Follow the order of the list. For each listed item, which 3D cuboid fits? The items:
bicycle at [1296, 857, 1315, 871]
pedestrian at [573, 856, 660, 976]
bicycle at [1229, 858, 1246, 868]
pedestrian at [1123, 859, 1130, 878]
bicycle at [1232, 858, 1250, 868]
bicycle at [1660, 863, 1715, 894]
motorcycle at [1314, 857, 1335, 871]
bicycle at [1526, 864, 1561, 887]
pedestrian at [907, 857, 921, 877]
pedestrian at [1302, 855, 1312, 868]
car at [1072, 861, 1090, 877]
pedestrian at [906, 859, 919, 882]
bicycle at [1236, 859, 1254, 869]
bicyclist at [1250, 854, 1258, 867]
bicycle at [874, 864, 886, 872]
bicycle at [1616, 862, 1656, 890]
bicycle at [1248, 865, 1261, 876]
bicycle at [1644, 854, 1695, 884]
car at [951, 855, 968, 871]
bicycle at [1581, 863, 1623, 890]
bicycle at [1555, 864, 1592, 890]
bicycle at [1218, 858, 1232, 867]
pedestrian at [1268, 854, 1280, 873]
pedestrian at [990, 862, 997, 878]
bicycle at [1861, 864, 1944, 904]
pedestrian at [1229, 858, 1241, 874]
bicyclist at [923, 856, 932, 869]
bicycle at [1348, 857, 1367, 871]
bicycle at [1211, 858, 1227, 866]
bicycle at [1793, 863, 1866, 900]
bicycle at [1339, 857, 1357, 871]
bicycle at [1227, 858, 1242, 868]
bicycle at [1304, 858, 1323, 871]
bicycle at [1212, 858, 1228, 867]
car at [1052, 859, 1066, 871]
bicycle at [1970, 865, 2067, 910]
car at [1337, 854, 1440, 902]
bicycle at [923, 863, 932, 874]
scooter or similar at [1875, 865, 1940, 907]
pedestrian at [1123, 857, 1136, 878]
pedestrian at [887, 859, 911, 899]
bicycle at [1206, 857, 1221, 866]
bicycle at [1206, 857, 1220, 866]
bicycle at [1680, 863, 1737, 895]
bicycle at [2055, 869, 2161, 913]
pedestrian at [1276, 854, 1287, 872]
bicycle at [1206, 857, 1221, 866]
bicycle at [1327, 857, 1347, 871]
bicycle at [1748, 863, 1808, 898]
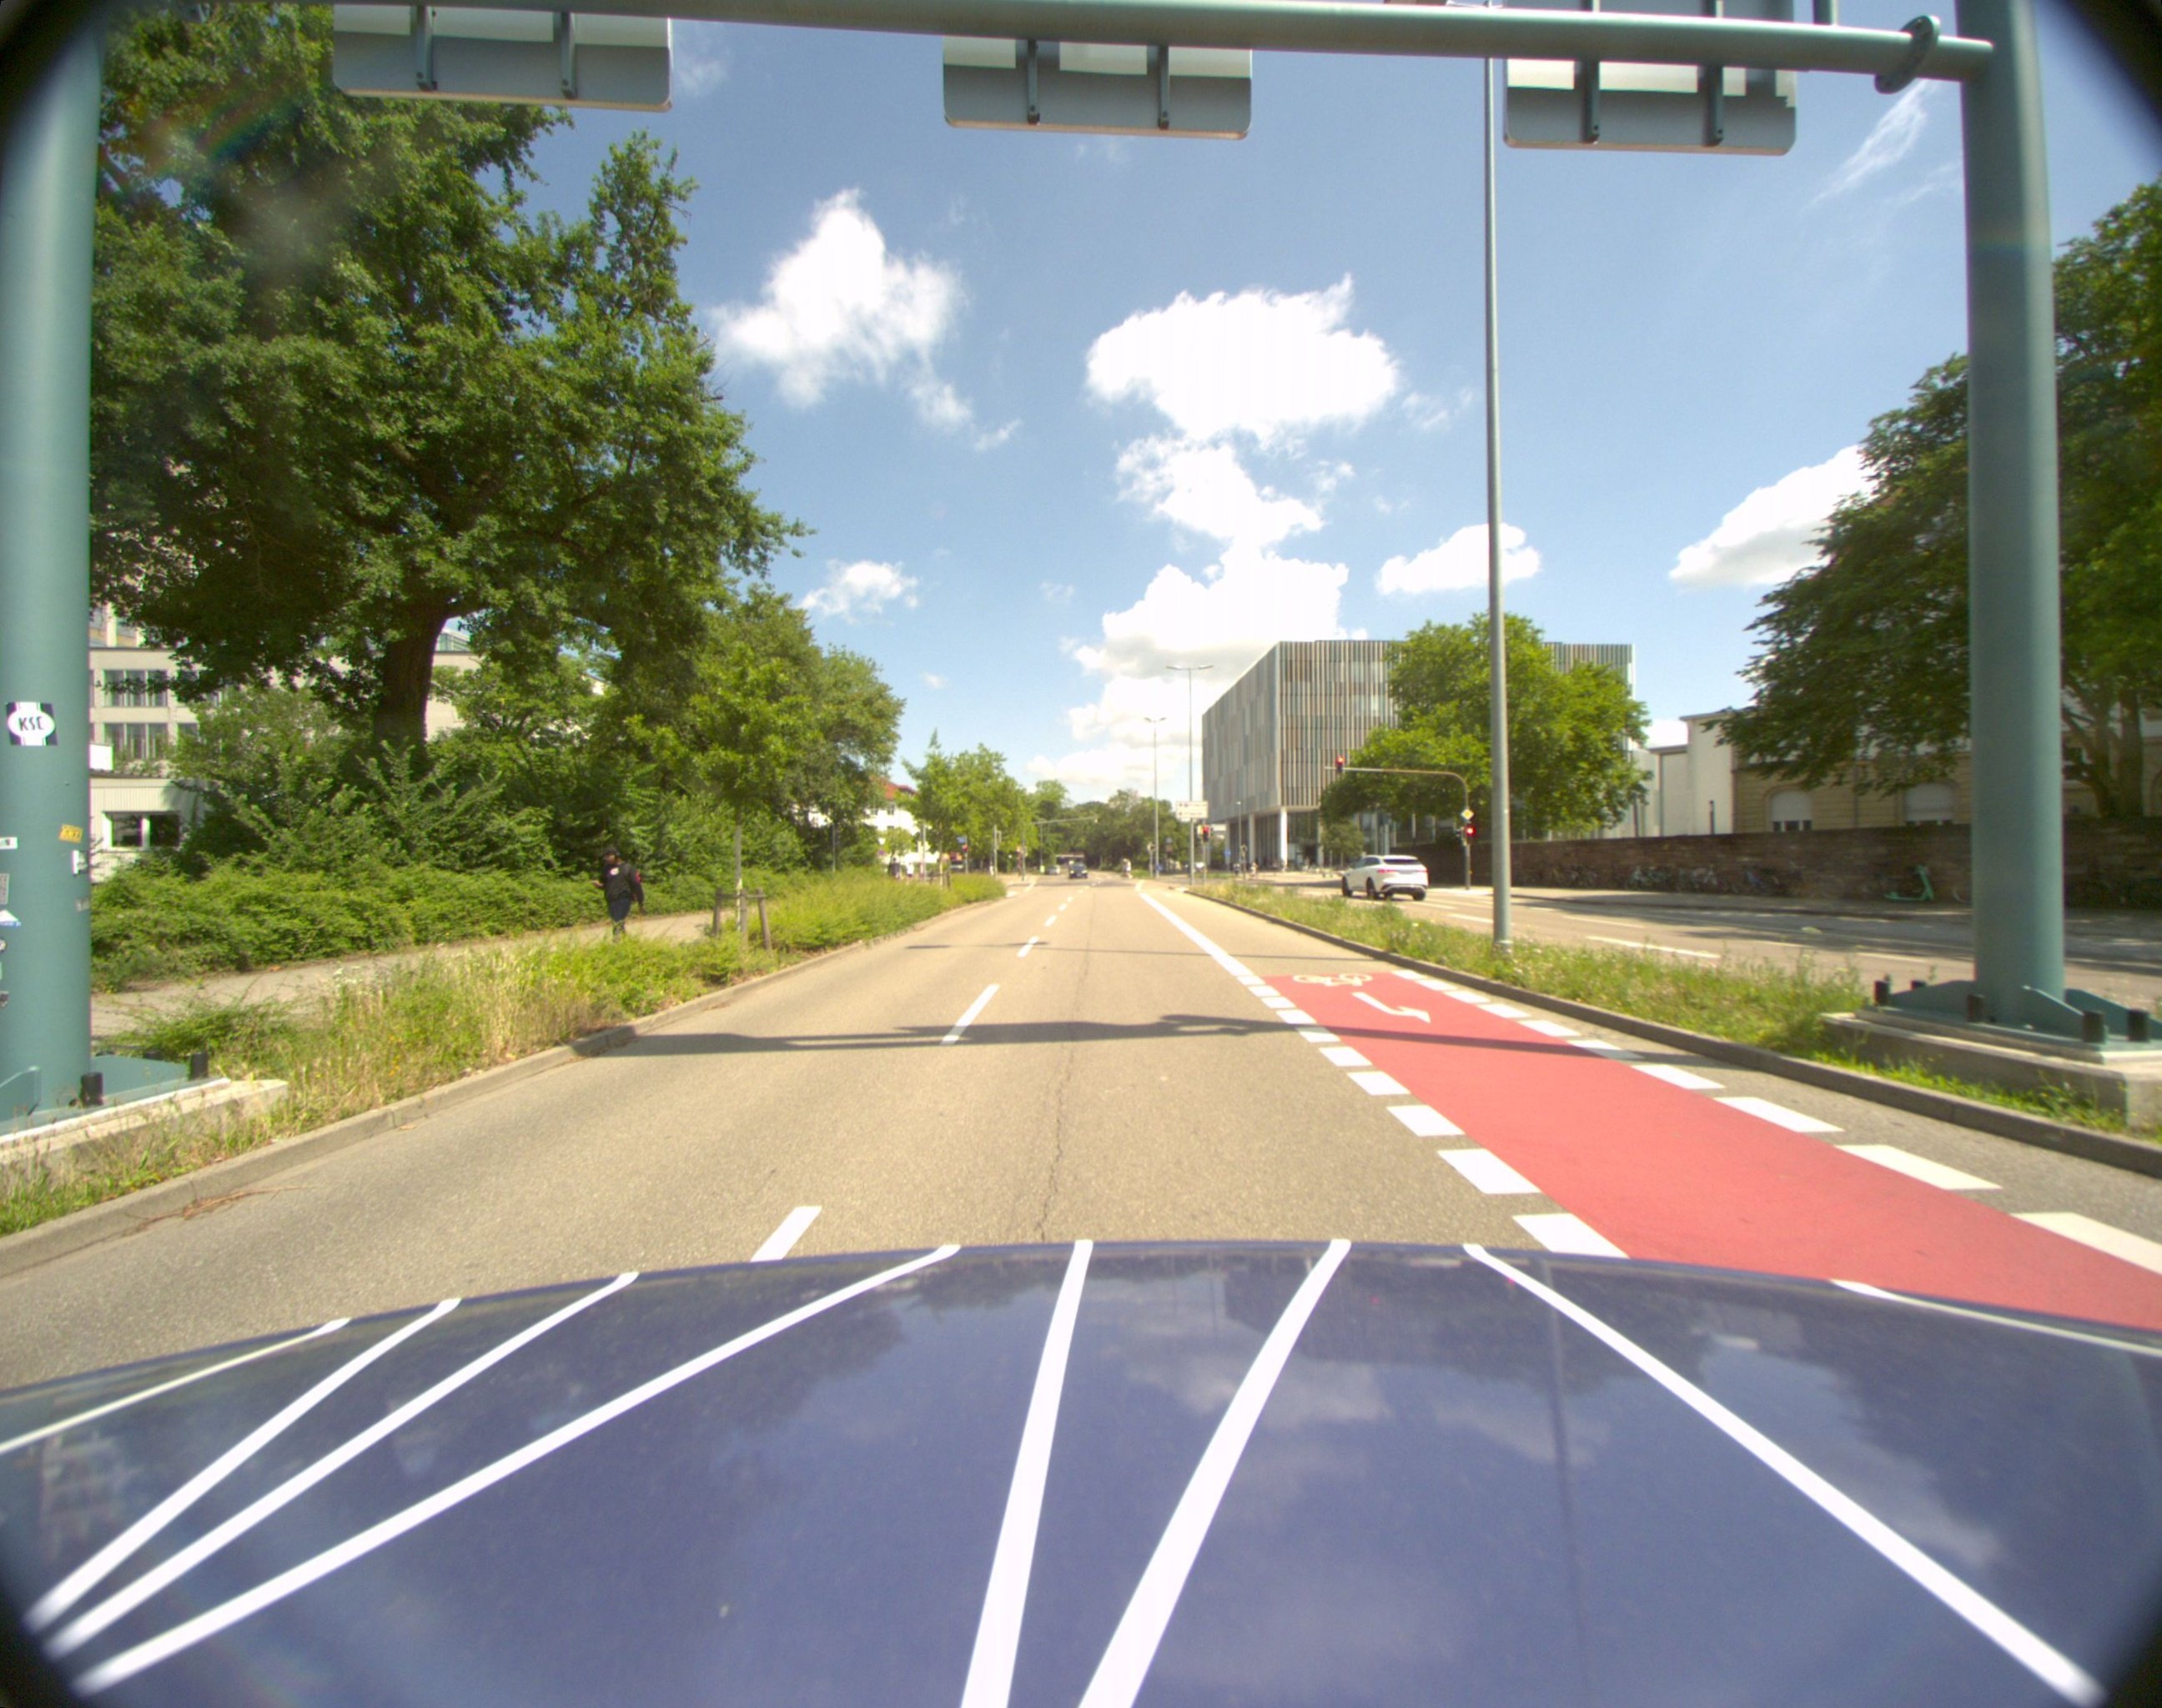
[{"bbox_3d":[26.600,1.197,89.983,0.808,1.634,3.422,-1,0,42],"label":"bicycle"},{"bbox_3d":[-6.842,0.885,11.227,0.718,1.711,0.837,-1,0,2],"label":"pedestrian"},{"bbox_3d":[23.713,1.433,115.286,2.511,1.486,0.621,-1,0,1],"label":"bicycle"},{"bbox_3d":[4.269,1.357,71.444,0.646,1.815,0.689,-1,0,1],"label":"pedestrian"},{"bbox_3d":[24.458,1.420,116.182,2.511,1.486,0.621,-1,0,1],"label":"bicycle"},{"bbox_3d":[23.332,0.923,29.242,0.403,1.145,1.590,-1,0,-32],"label":"bicycle"},{"bbox_3d":[28.329,1.166,88.293,3.305,1.630,0.969,0,0,-45],"label":"motorcycle"},{"bbox_3d":[22.524,1.045,37.062,0.573,1.092,1.593,-1,0,-8],"label":"bicycle"},{"bbox_3d":[-16.560,1.289,75.458,1.030,1.914,0.973,-1,0,11],"label":"pedestrian"},{"bbox_3d":[29.166,0.998,98.044,1.011,1.697,1.213,-1,0,35],"label":"pedestrian"},{"bbox_3d":[-0.031,1.569,81.315,1.846,1.593,3.999,-1,0,-2],"label":"car"},{"bbox_3d":[-13.722,1.340,61.840,0.878,1.861,0.971,-1,0,-4],"label":"pedestrian"},{"bbox_3d":[24.294,1.444,112.602,2.509,1.486,0.730,-1,0,11],"label":"bicycle"},{"bbox_3d":[16.399,0.654,72.054,0.617,1.219,0.835,-1,0,26],"label":"bicyclist"},{"bbox_3d":[-25.627,1.774,97.031,1.428,0.945,0.352,-1,0,-5],"label":"bicycle"},{"bbox_3d":[23.250,0.911,31.880,0.413,1.145,1.593,-1,0,-5],"label":"bicycle"},{"bbox_3d":[16.482,1.589,72.192,0.646,0.992,2.167,-1,0,27],"label":"bicycle"},{"bbox_3d":[23.379,0.583,30.211,0.403,1.145,1.591,-1,0,-22],"label":"bicycle"},{"bbox_3d":[-15.584,1.174,97.713,2.000,2.042,4.226,-1,0,-8],"label":"car"},{"bbox_3d":[22.946,0.982,33.511,0.623,1.145,1.593,-1,0,-8],"label":"bicycle"},{"bbox_3d":[22.772,1.040,35.170,0.500,1.145,1.593,-1,0,-8],"label":"bicycle"},{"bbox_3d":[23.657,1.373,124.718,2.071,1.486,0.621,-1,0,1],"label":"bicycle"},{"bbox_3d":[20.501,1.014,80.782,0.969,1.914,0.880,-1,0,30],"label":"pedestrian"},{"bbox_3d":[-8.121,1.505,70.633,0.591,1.495,0.416,-1,0,-18],"label":"pedestrian"},{"bbox_3d":[24.420,0.877,22.607,0.534,1.145,1.591,-1,0,-21],"label":"bicycle"},{"bbox_3d":[16.325,1.264,80.516,0.972,1.619,0.878,-1,0,-12],"label":"pedestrian"},{"bbox_3d":[-16.870,0.914,83.591,0.972,1.436,1.076,-1,0,-13],"label":"bicyclist"},{"bbox_3d":[31.115,1.128,85.403,0.997,1.543,3.422,-1,0,37],"label":"bicycle"},{"bbox_3d":[23.341,1.352,128.396,2.511,1.486,0.621,-1,0,1],"label":"bicycle"},{"bbox_3d":[23.944,0.871,24.348,0.534,1.145,1.591,-1,0,-21],"label":"bicycle"},{"bbox_3d":[30.340,1.131,86.286,0.997,1.543,3.422,-1,0,37],"label":"bicycle"},{"bbox_3d":[23.870,1.412,118.381,2.200,1.486,0.621,-1,0,1],"label":"bicycle"},{"bbox_3d":[27.366,1.276,89.248,2.693,1.485,0.930,-1,0,-44],"label":"bicycle"},{"bbox_3d":[23.246,1.361,127.283,2.511,1.486,0.621,-1,0,1],"label":"bicycle"},{"bbox_3d":[-3.308,1.622,112.793,1.913,1.772,3.999,-1,0,-3],"label":"car"},{"bbox_3d":[24.868,0.868,20.193,0.433,1.136,1.593,-1,0,-12],"label":"bicycle"},{"bbox_3d":[11.503,0.855,28.837,2.076,1.657,4.776,-1,0,2],"label":"car"},{"bbox_3d":[-16.892,1.575,83.766,0.885,1.244,2.163,-1,0,-13],"label":"bicycle"},{"bbox_3d":[23.827,0.908,21.917,0.433,1.145,1.191,-1,0,-20],"label":"scooter or similar"},{"bbox_3d":[4.499,1.274,70.391,1.108,1.914,0.972,-1,0,2],"label":"pedestrian"},{"bbox_3d":[-8.122,1.108,33.962,0.815,1.711,0.930,-1,0,2],"label":"pedestrian"},{"bbox_3d":[23.037,1.332,132.092,2.511,1.486,0.621,-1,0,1],"label":"bicycle"},{"bbox_3d":[23.246,1.317,134.078,2.302,1.486,0.657,-1,0,1],"label":"bicycle"},{"bbox_3d":[23.369,0.928,28.329,0.403,1.145,1.590,-1,0,-32],"label":"bicycle"},{"bbox_3d":[25.163,0.877,18.489,0.482,1.002,1.800,-1,0,-8],"label":"bicycle"},{"bbox_3d":[21.958,0.999,83.034,0.969,1.914,0.880,-1,0,27],"label":"pedestrian"},{"bbox_3d":[23.147,1.325,132.792,2.511,1.486,0.621,-1,0,1],"label":"bicycle"},{"bbox_3d":[29.445,1.132,87.326,1.049,1.543,3.422,-1,0,37],"label":"bicycle"},{"bbox_3d":[23.923,0.899,26.104,0.403,1.145,1.593,-1,0,-11],"label":"bicycle"}]
